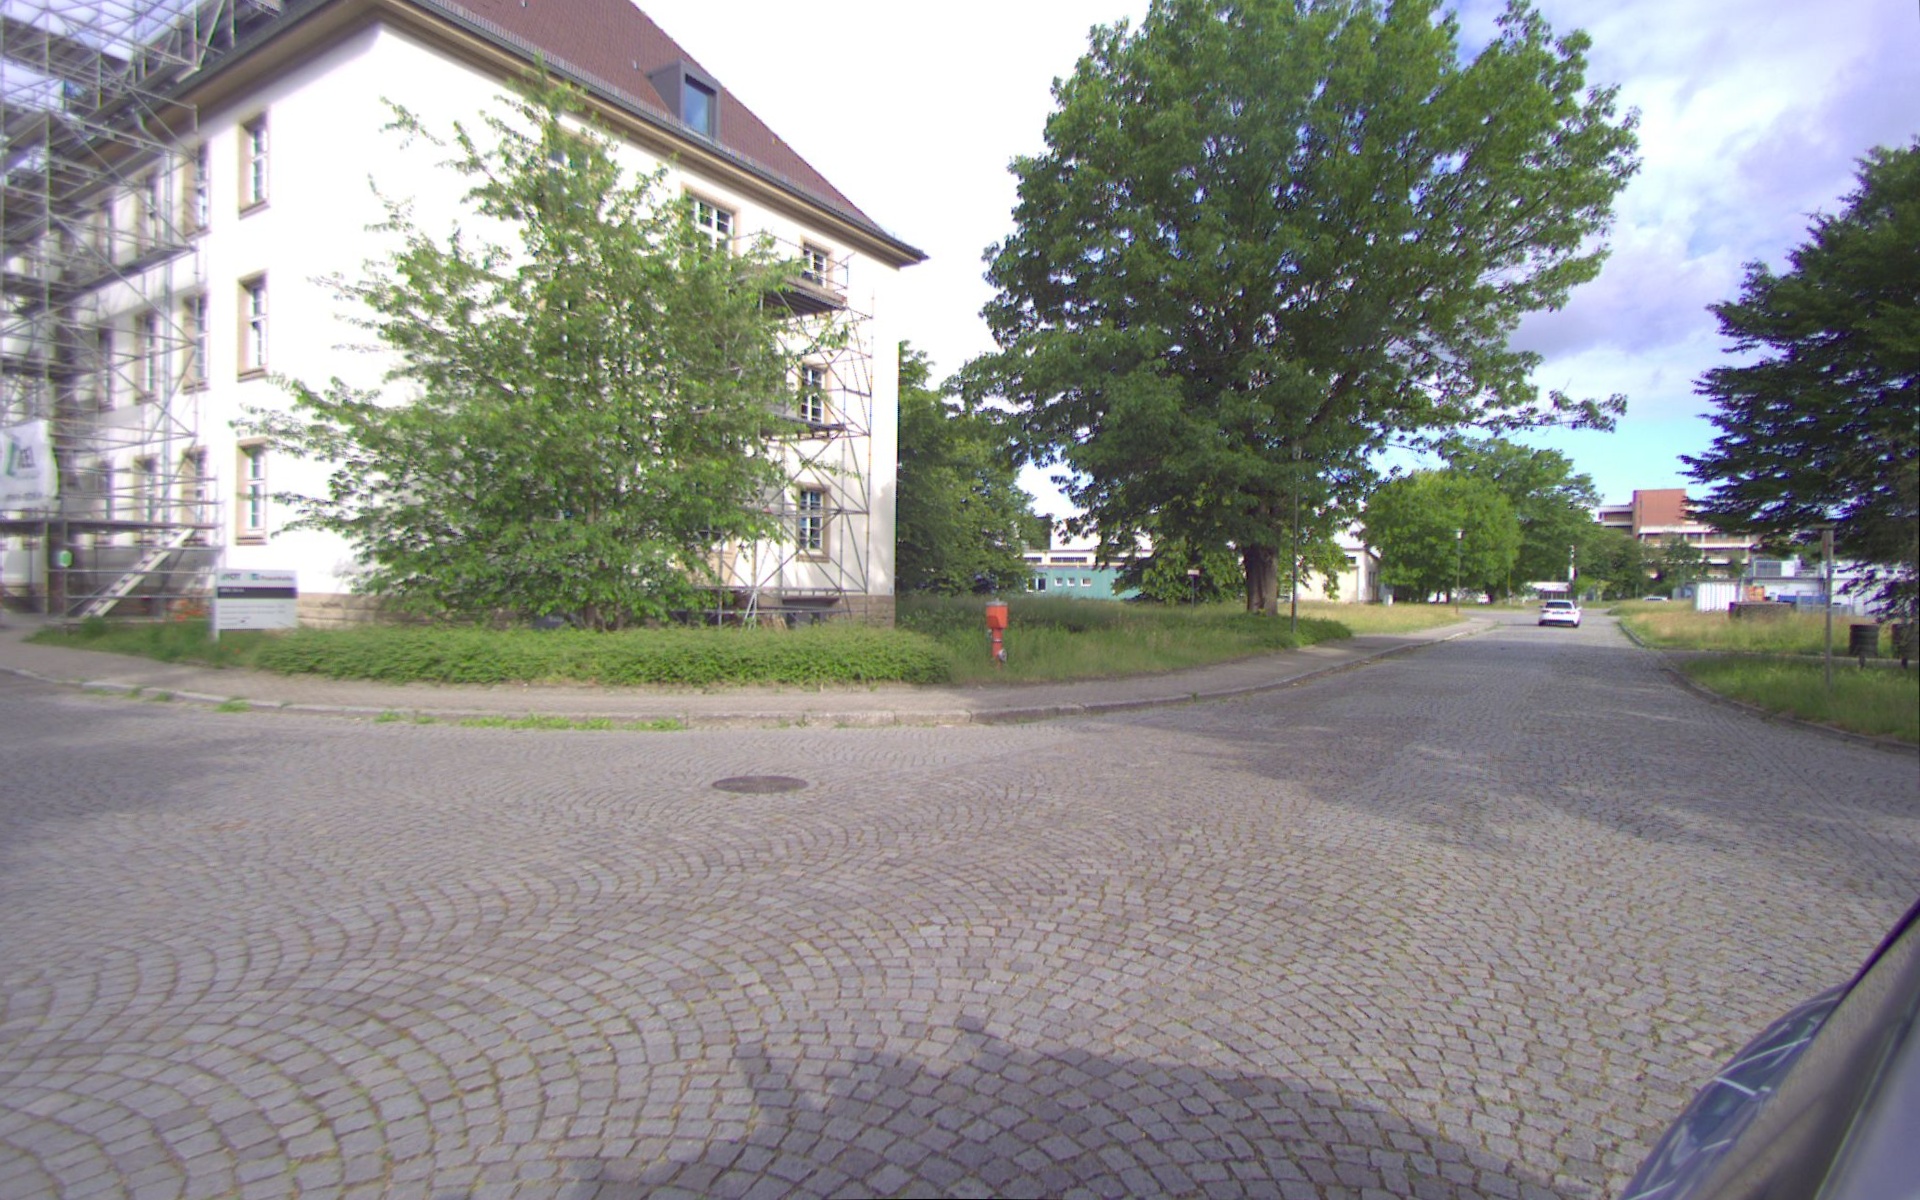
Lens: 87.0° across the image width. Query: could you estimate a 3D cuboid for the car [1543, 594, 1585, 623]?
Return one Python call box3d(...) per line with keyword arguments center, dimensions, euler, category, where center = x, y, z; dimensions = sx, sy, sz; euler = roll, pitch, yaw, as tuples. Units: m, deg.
box3d(center=(32.080, 0.396, 53.709), dimensions=(1.840, 1.455, 4.652), euler=(0, 1, 32), category="car")
